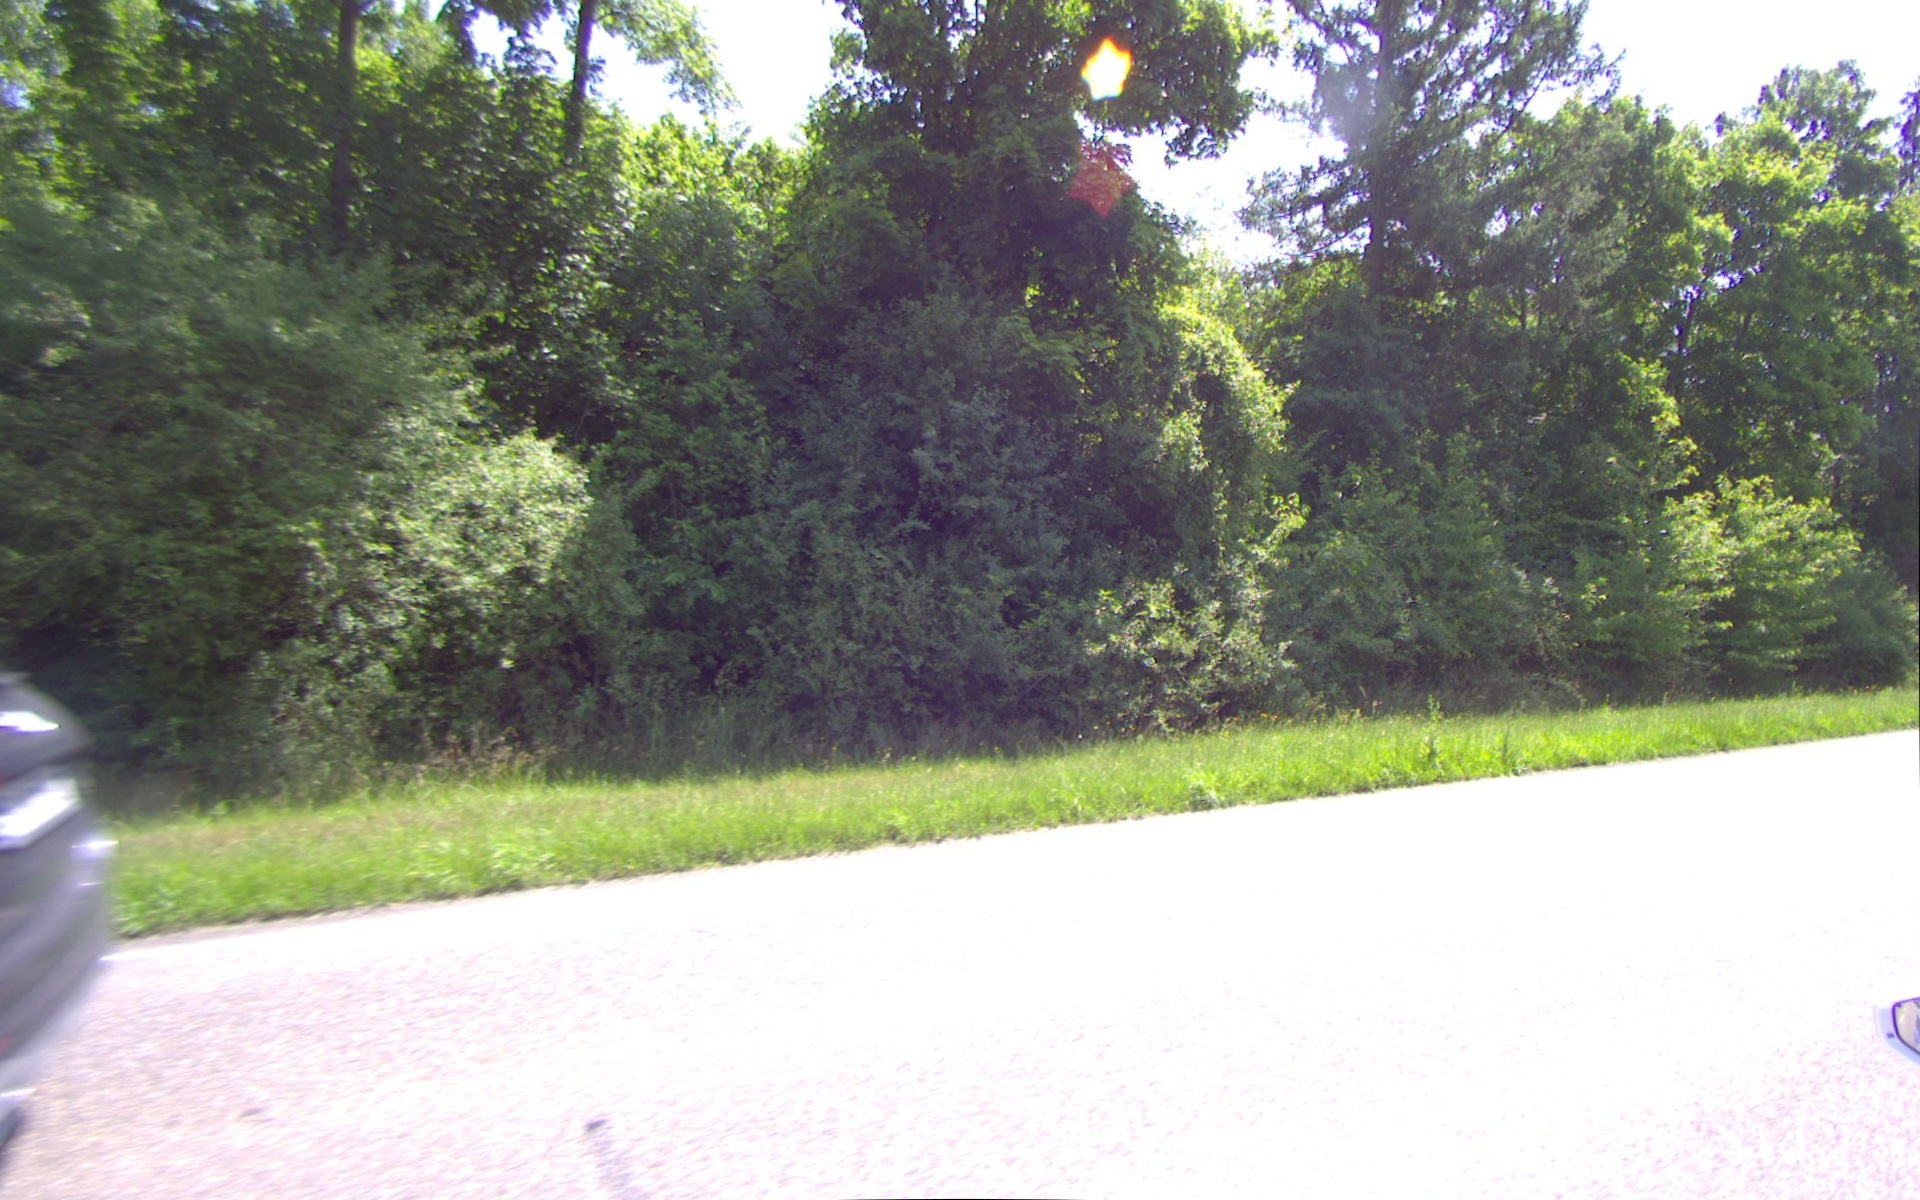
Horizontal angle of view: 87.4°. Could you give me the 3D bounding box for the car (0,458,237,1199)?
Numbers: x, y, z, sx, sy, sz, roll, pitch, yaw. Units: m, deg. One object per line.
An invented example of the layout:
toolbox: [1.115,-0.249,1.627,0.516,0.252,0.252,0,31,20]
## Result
car: [-3.717,0.554,1.449,4.152,1.646,1.856,1,0,-31]
